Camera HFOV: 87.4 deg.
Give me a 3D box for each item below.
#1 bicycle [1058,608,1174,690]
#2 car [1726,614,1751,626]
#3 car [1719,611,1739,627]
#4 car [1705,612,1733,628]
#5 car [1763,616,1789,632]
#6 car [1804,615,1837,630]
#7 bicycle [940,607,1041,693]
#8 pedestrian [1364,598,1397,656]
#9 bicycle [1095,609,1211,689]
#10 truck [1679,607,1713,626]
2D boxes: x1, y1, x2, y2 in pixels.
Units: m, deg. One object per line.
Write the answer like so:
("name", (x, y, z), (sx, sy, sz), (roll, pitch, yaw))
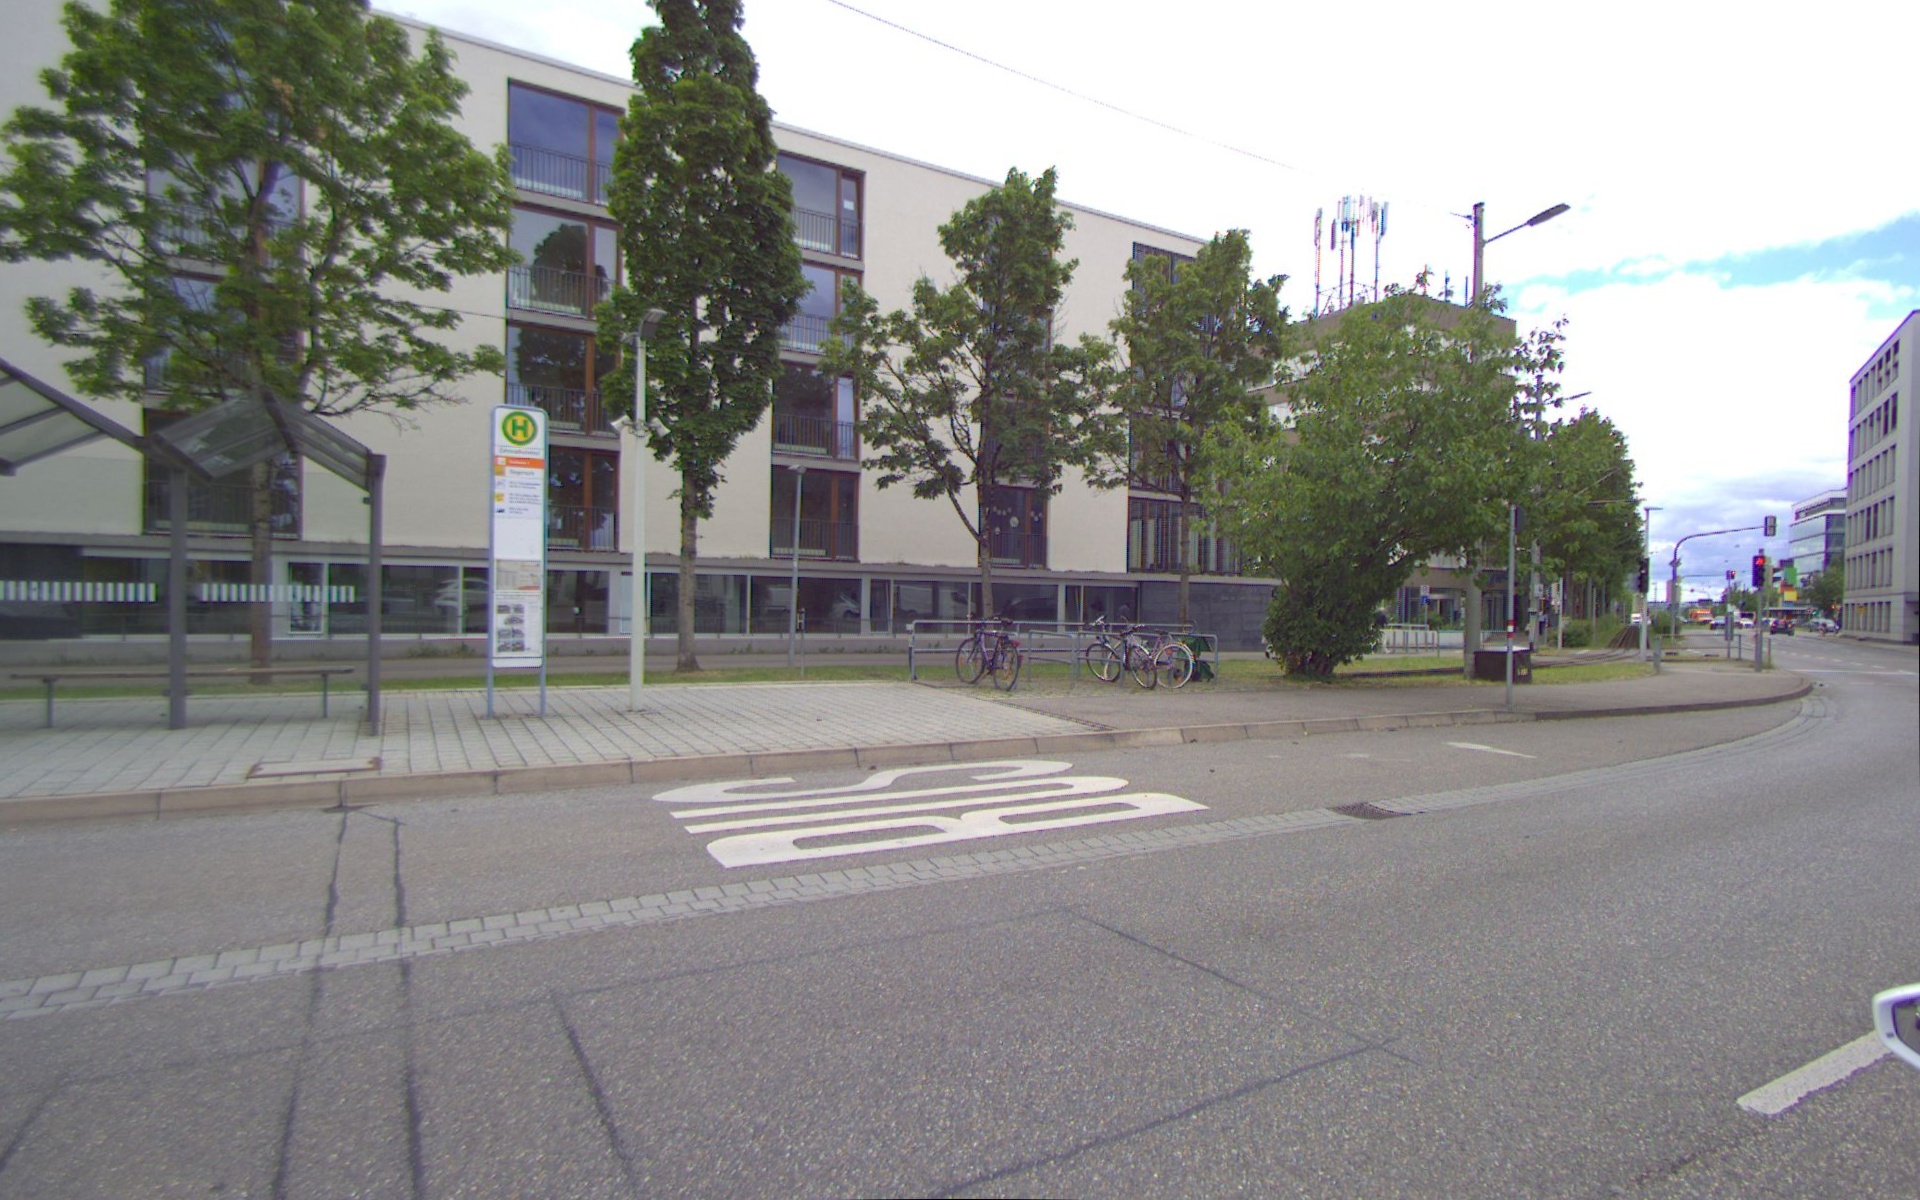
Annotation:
("bicycle", (2.412, 0.734, 15.801), (0.624, 1.121, 2.089), (1, 1, -29))
("car", (113.424, 2.928, 146.396), (1.822, 1.650, 3.998), (1, 0, 22))
("car", (96.921, 2.374, 126.562), (1.829, 1.948, 3.983), (1, 0, 39))
("car", (85.594, 2.215, 113.311), (3.971, 1.718, 1.834), (1, 0, -43))
("car", (82.561, 2.444, 101.618), (1.878, 1.506, 3.979), (1, 0, 41))
("car", (101.801, 2.671, 118.865), (1.822, 1.650, 3.998), (1, 0, 22))
("bicycle", (0.416, 0.700, 14.832), (0.580, 1.121, 1.920), (1, 1, -29))
("pedestrian", (15.466, 0.990, 36.957), (0.758, 2.041, 0.886), (5, 3, 41))
("bicycle", (3.051, 0.751, 16.091), (0.624, 1.121, 2.089), (1, 1, -28))
("truck", (113.903, 2.580, 155.539), (2.532, 2.863, 6.987), (1, 0, 22))
